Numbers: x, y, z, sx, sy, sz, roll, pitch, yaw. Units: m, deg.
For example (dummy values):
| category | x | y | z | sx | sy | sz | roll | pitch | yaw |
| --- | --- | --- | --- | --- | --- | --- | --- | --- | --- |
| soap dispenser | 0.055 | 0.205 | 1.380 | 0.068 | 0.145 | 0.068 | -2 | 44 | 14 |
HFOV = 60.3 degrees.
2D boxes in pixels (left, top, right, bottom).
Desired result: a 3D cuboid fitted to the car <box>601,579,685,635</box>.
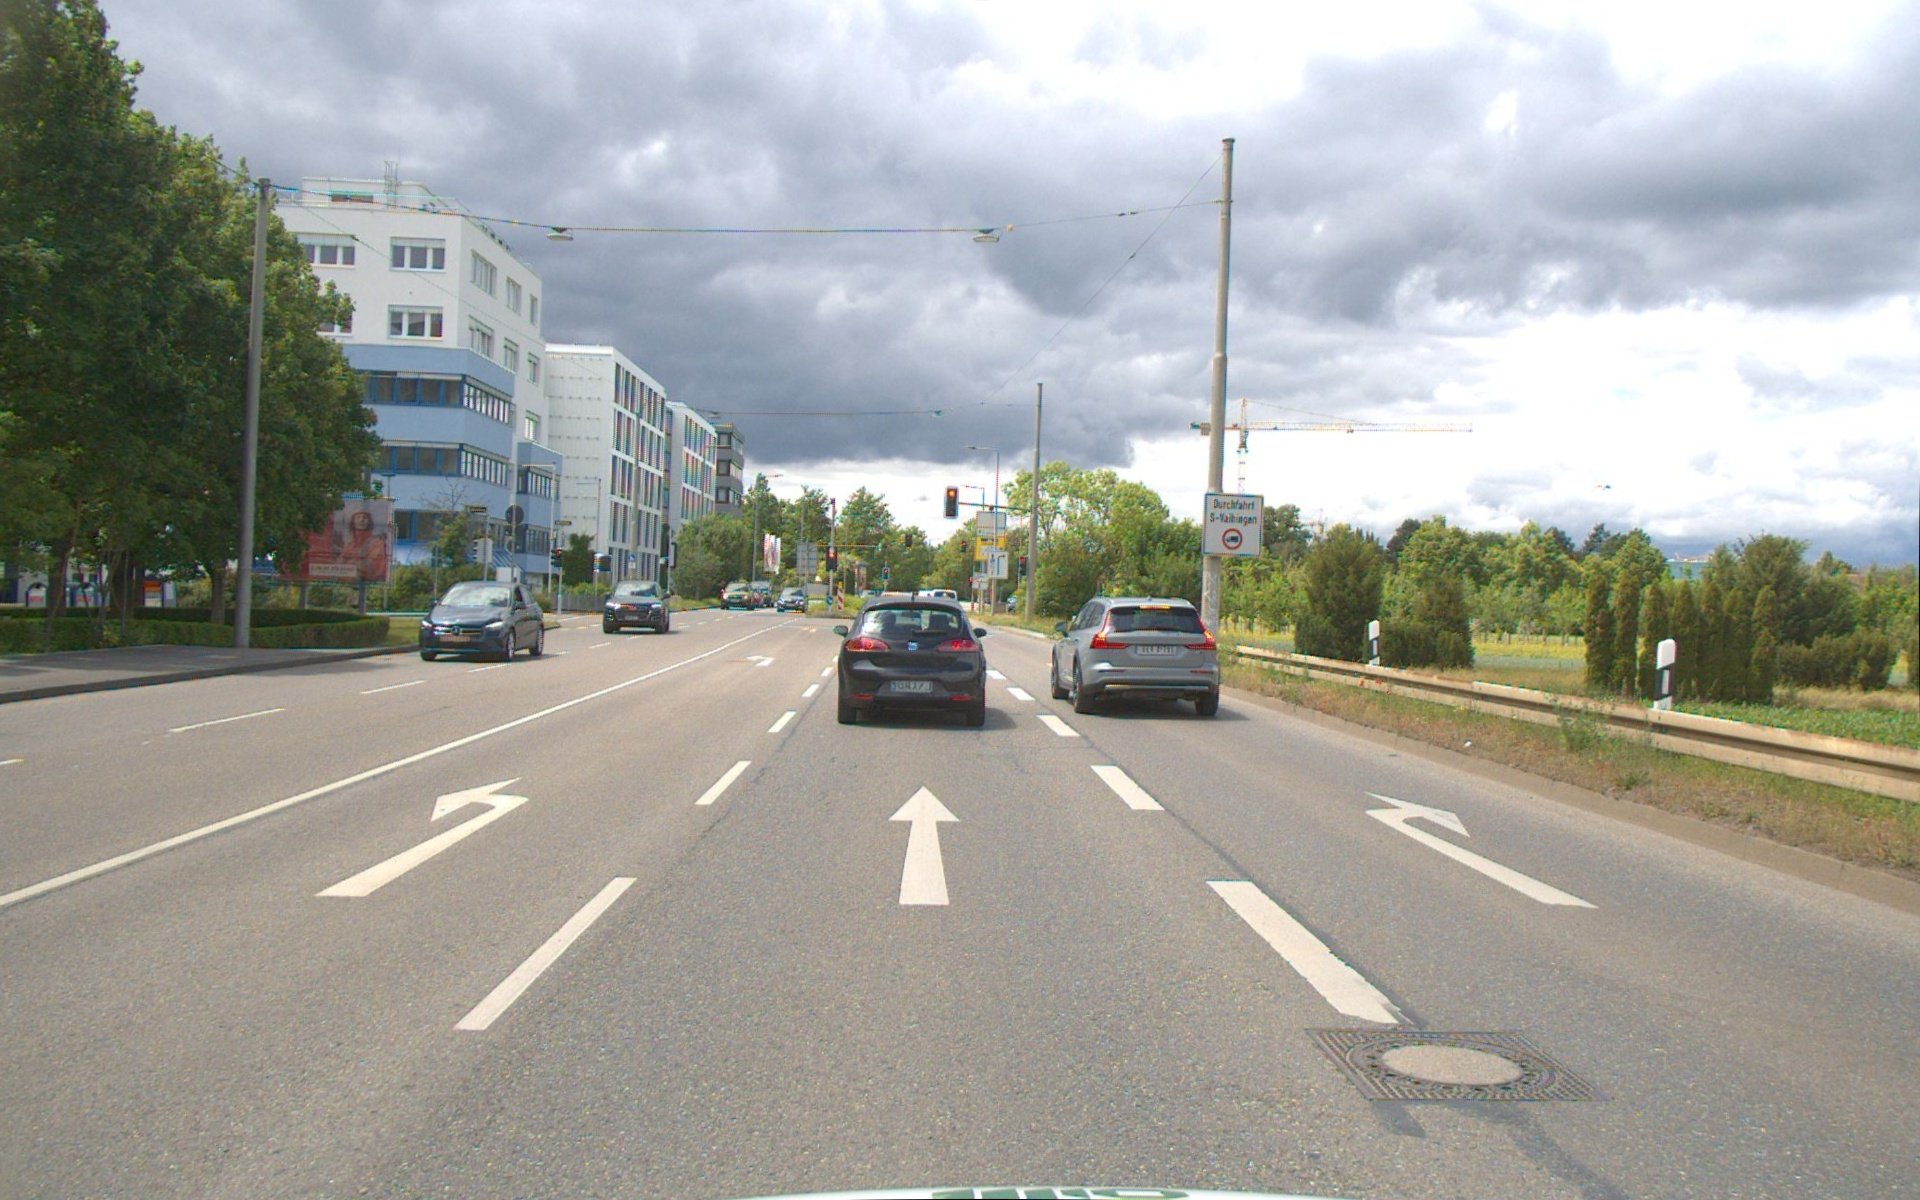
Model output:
| category | x | y | z | sx | sy | sz | roll | pitch | yaw |
| --- | --- | --- | --- | --- | --- | --- | --- | --- | --- |
| car | -10.035 | 0.232 | 52.654 | 1.830 | 1.643 | 4.570 | 2 | 0 | -1 |

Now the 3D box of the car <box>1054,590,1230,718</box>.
| category | x | y | z | sx | sy | sz | roll | pitch | yaw |
| --- | --- | --- | --- | --- | --- | --- | --- | --- | --- |
| car | 2.341 | 0.669 | 22.367 | 1.918 | 1.552 | 4.340 | 0 | 0 | 0 |

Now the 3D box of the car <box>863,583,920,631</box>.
| category | x | y | z | sx | sy | sz | roll | pitch | yaw |
| --- | --- | --- | --- | --- | --- | --- | --- | --- | --- |
| car | -2.564 | 0.217 | 60.935 | 1.944 | 1.618 | 4.223 | 2 | 1 | -4 |

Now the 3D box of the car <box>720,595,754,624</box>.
| category | x | y | z | sx | sy | sz | roll | pitch | yaw |
| --- | --- | --- | --- | --- | --- | --- | --- | --- | --- |
| car | -13.376 | 0.551 | 99.457 | 1.716 | 1.659 | 3.998 | 0 | 0 | -3 |

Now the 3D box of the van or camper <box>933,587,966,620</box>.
| category | x | y | z | sx | sy | sz | roll | pitch | yaw |
| --- | --- | --- | --- | --- | --- | --- | --- | --- | --- |
| van or camper | -0.715 | 0.263 | 111.385 | 1.862 | 1.960 | 3.995 | 3 | -2 | -5 |

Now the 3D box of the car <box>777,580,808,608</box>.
| category | x | y | z | sx | sy | sz | roll | pitch | yaw |
| --- | --- | --- | --- | --- | --- | --- | --- | --- | --- |
| car | -9.925 | -0.362 | 98.323 | 1.635 | 1.551 | 4.006 | 0 | 1 | -3 |

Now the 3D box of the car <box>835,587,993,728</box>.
| category | x | y | z | sx | sy | sz | roll | pitch | yaw |
| --- | --- | --- | --- | --- | --- | --- | --- | --- | --- |
| car | -0.491 | 0.640 | 20.118 | 1.712 | 1.510 | 4.000 | 1 | 0 | 0 |

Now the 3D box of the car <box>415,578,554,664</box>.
| category | x | y | z | sx | sy | sz | roll | pitch | yaw |
| --- | --- | --- | --- | --- | --- | --- | --- | --- | --- |
| car | -9.733 | 0.413 | 34.170 | 1.760 | 1.613 | 4.311 | -2 | 0 | -3 |
